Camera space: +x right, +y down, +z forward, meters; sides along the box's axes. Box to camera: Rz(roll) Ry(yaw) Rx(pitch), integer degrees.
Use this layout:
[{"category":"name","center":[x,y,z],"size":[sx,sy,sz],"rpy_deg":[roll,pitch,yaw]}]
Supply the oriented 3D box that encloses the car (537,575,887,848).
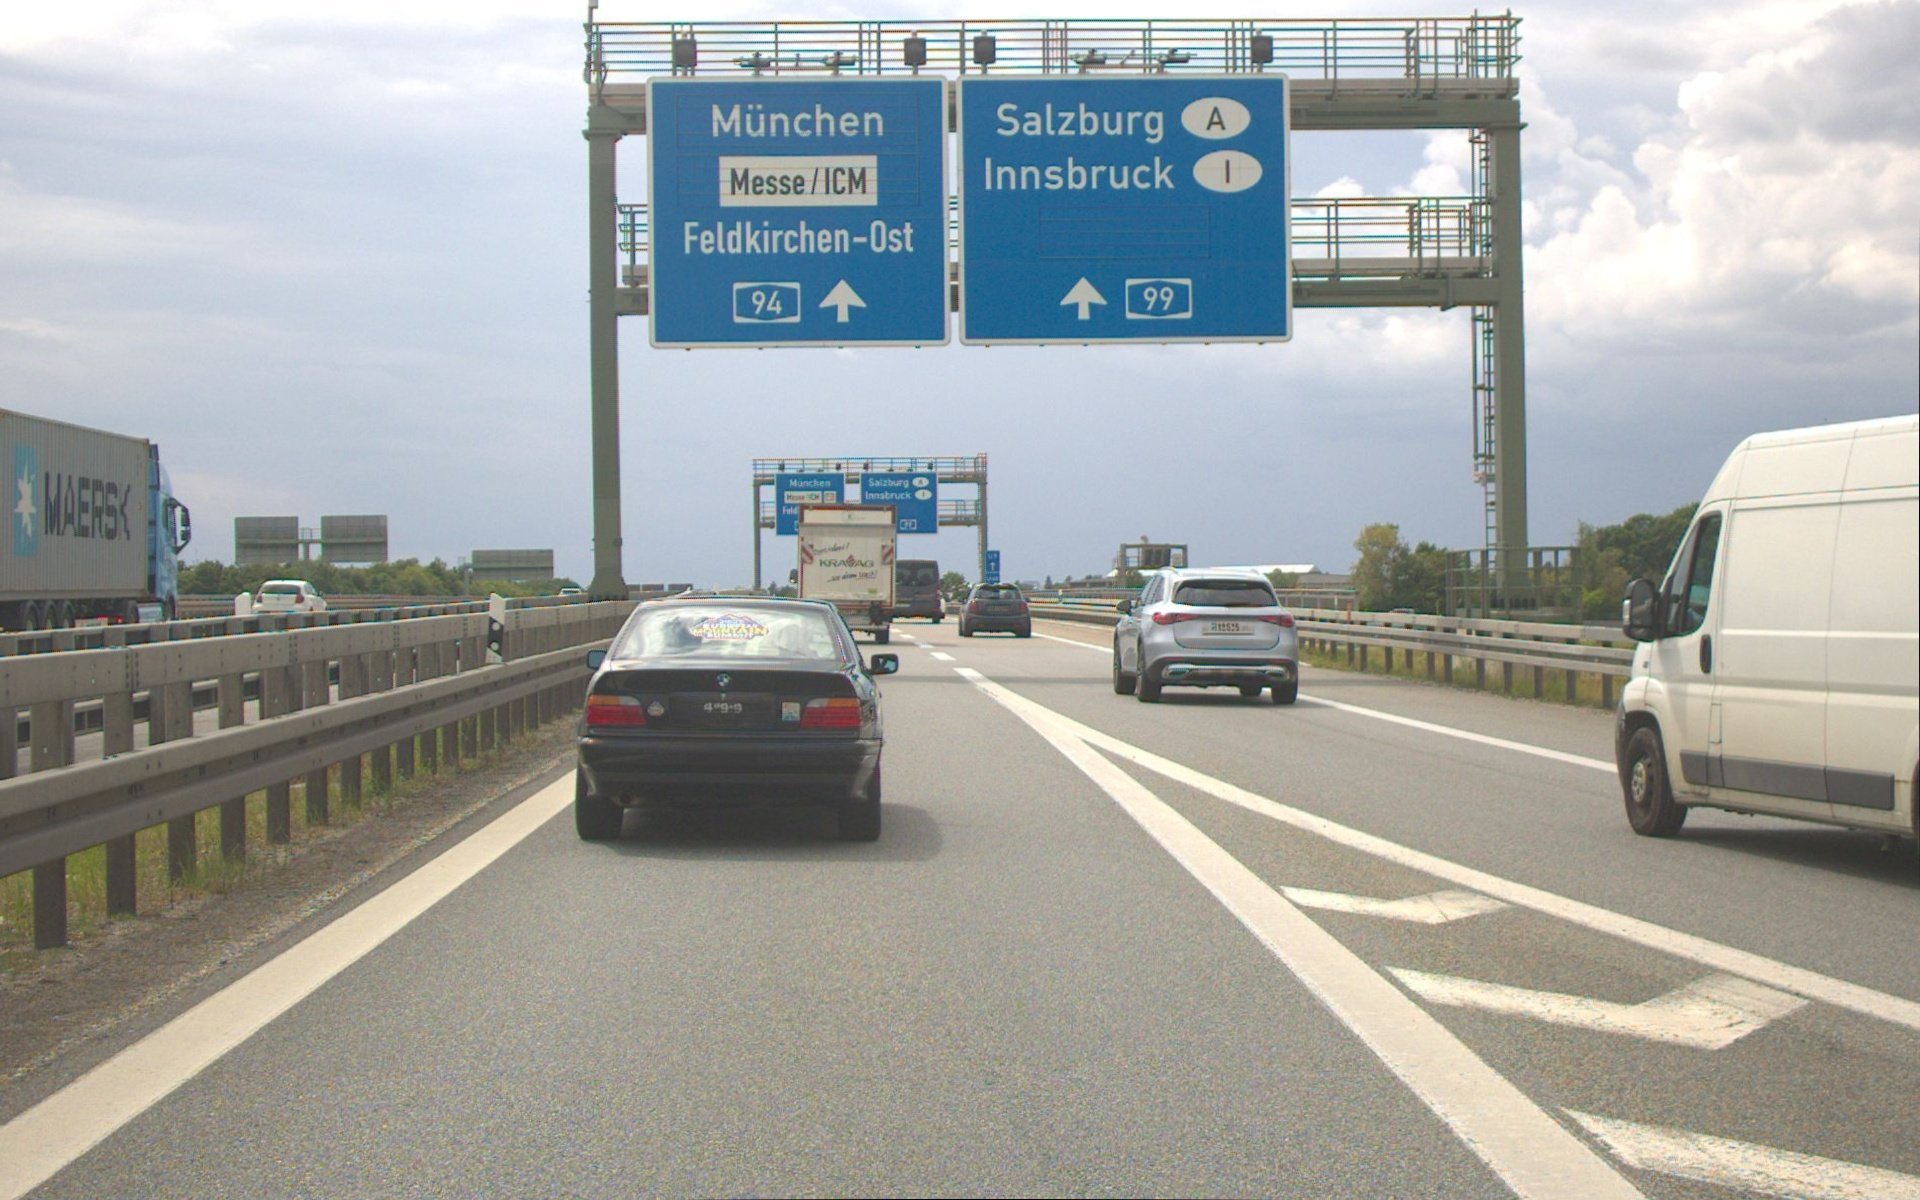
[{"category":"car","center":[-1.332,0.563,19.911],"size":[1.782,1.373,4.137],"rpy_deg":[1,1,-1]}]

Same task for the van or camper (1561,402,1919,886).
[{"category":"van or camper","center":[5.436,0.213,18.599],"size":[2.223,2.353,5.941],"rpy_deg":[1,0,-12]}]

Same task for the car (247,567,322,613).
[{"category":"car","center":[-20.471,-0.321,104.306],"size":[1.752,1.364,4.206],"rpy_deg":[0,1,-4]}]

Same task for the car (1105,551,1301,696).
[{"category":"car","center":[2.937,0.248,42.326],"size":[1.936,1.679,4.209],"rpy_deg":[0,1,-2]}]

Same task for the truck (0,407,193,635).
[{"category":"truck","center":[-16.270,-1.416,62.651],"size":[3.246,3.898,6.610],"rpy_deg":[1,1,-2]}]

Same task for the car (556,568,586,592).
[{"category":"car","center":[-27.246,-1.404,241.074],"size":[1.892,1.592,4.418],"rpy_deg":[1,0,-4]}]

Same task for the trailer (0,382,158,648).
[{"category":"trailer","center":[-15.988,-1.337,56.519],"size":[3.236,3.911,12.381],"rpy_deg":[1,0,-3]}]

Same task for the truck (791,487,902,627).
[{"category":"truck","center":[-2.572,-0.996,79.261],"size":[2.404,3.079,6.371],"rpy_deg":[1,1,-1]}]

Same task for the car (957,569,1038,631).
[{"category":"car","center":[0.966,-0.019,90.114],"size":[1.993,1.547,4.000],"rpy_deg":[1,0,-1]}]
